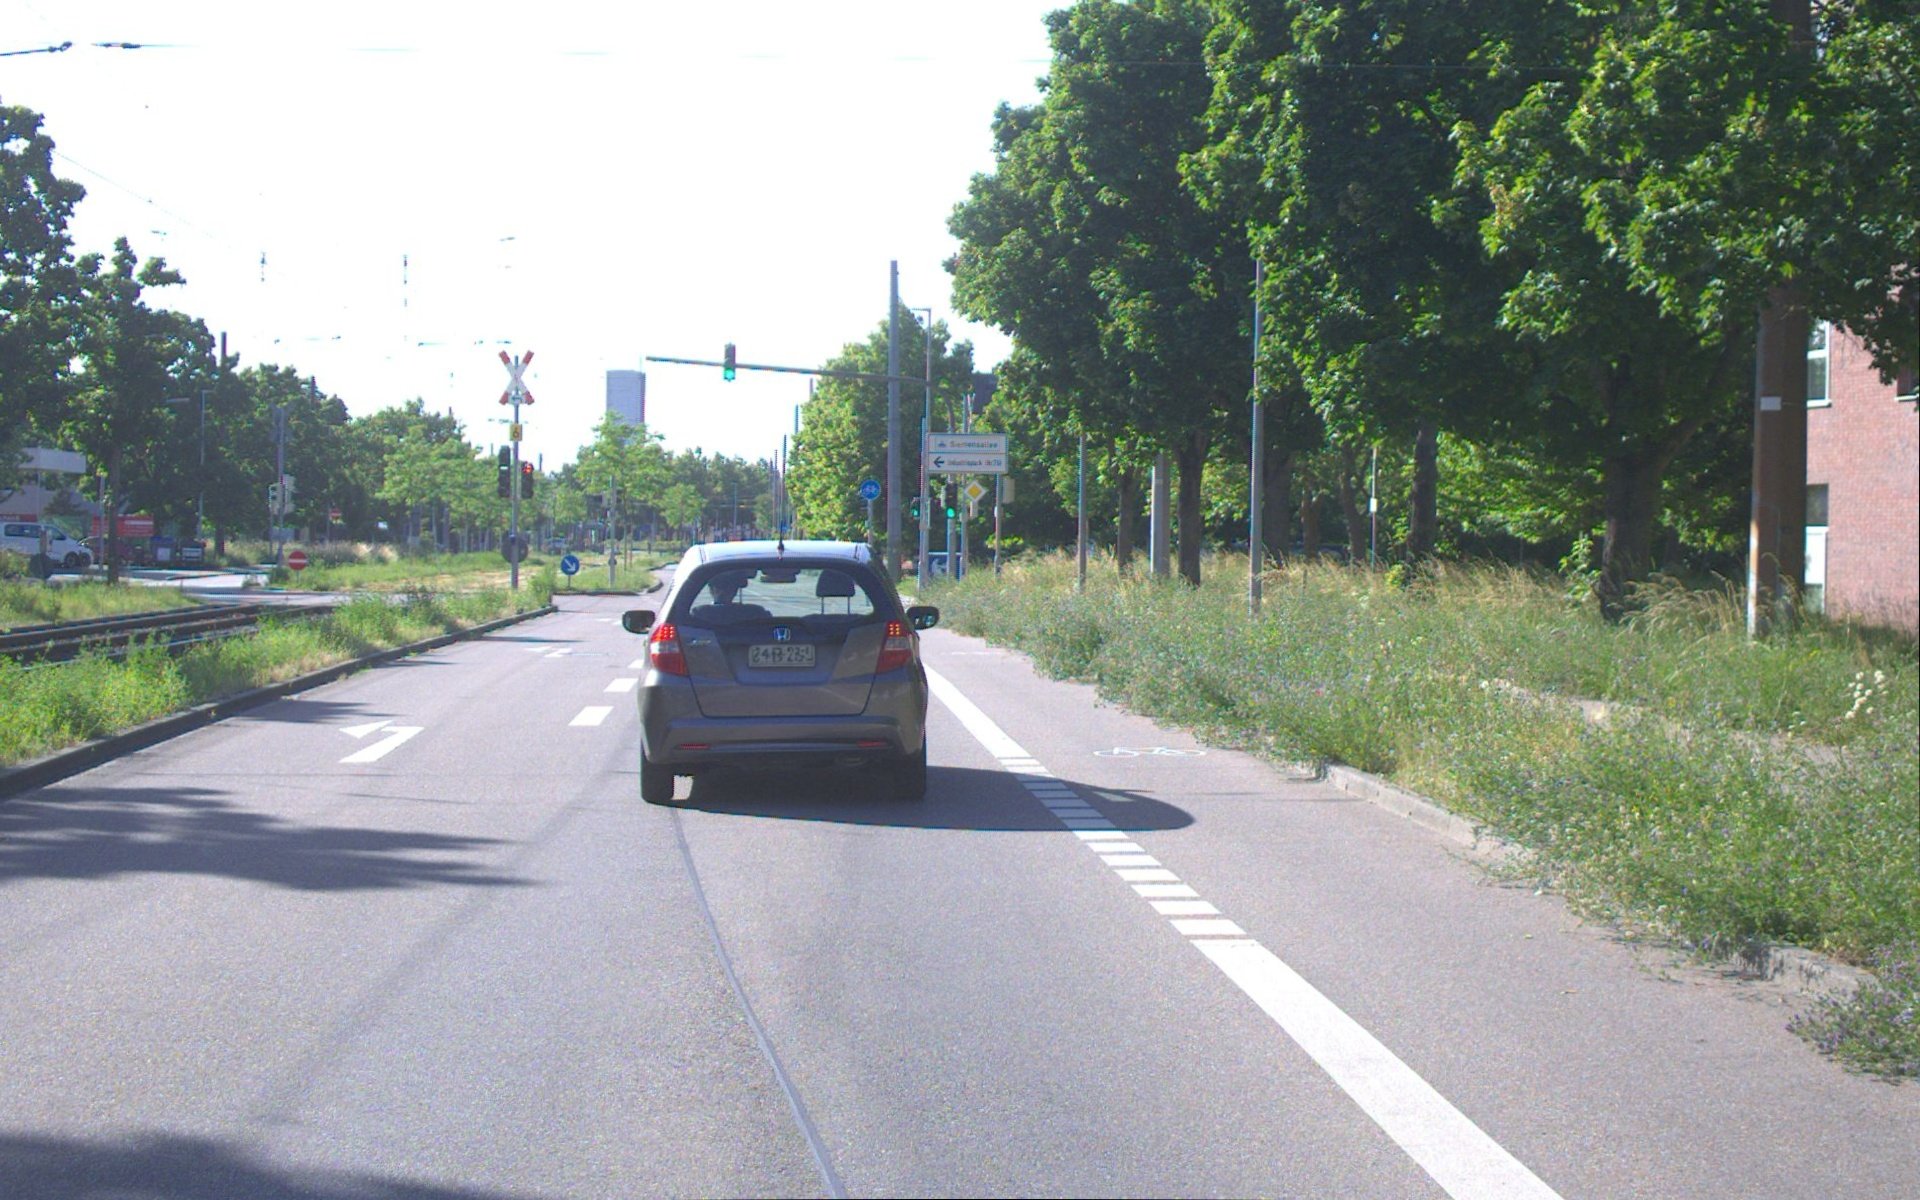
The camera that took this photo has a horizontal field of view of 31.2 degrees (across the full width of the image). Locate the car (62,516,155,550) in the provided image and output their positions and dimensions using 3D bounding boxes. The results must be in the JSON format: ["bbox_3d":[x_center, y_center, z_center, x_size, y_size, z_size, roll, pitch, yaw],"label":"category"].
[{"bbox_3d":[-40.387,-3.199,163.177,4.070,1.563,1.792,1,1,-6],"label":"car"}]

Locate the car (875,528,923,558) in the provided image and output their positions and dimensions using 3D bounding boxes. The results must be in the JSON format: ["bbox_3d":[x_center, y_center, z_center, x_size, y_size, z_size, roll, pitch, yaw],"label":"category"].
[{"bbox_3d":[-2.831,-2.640,158.154,1.773,1.382,3.871,0,1,-8],"label":"car"}]

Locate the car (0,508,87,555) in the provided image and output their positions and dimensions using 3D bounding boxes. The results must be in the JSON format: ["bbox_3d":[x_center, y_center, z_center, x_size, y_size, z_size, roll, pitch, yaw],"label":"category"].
[{"bbox_3d":[-39.706,-2.939,146.464,1.859,1.967,4.776,2,2,37],"label":"car"}]

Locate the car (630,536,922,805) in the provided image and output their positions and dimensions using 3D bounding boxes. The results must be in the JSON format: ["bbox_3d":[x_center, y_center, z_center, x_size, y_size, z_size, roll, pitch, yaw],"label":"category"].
[{"bbox_3d":[-1.122,0.363,20.951,1.624,1.494,3.457,0,1,-3],"label":"car"}]
